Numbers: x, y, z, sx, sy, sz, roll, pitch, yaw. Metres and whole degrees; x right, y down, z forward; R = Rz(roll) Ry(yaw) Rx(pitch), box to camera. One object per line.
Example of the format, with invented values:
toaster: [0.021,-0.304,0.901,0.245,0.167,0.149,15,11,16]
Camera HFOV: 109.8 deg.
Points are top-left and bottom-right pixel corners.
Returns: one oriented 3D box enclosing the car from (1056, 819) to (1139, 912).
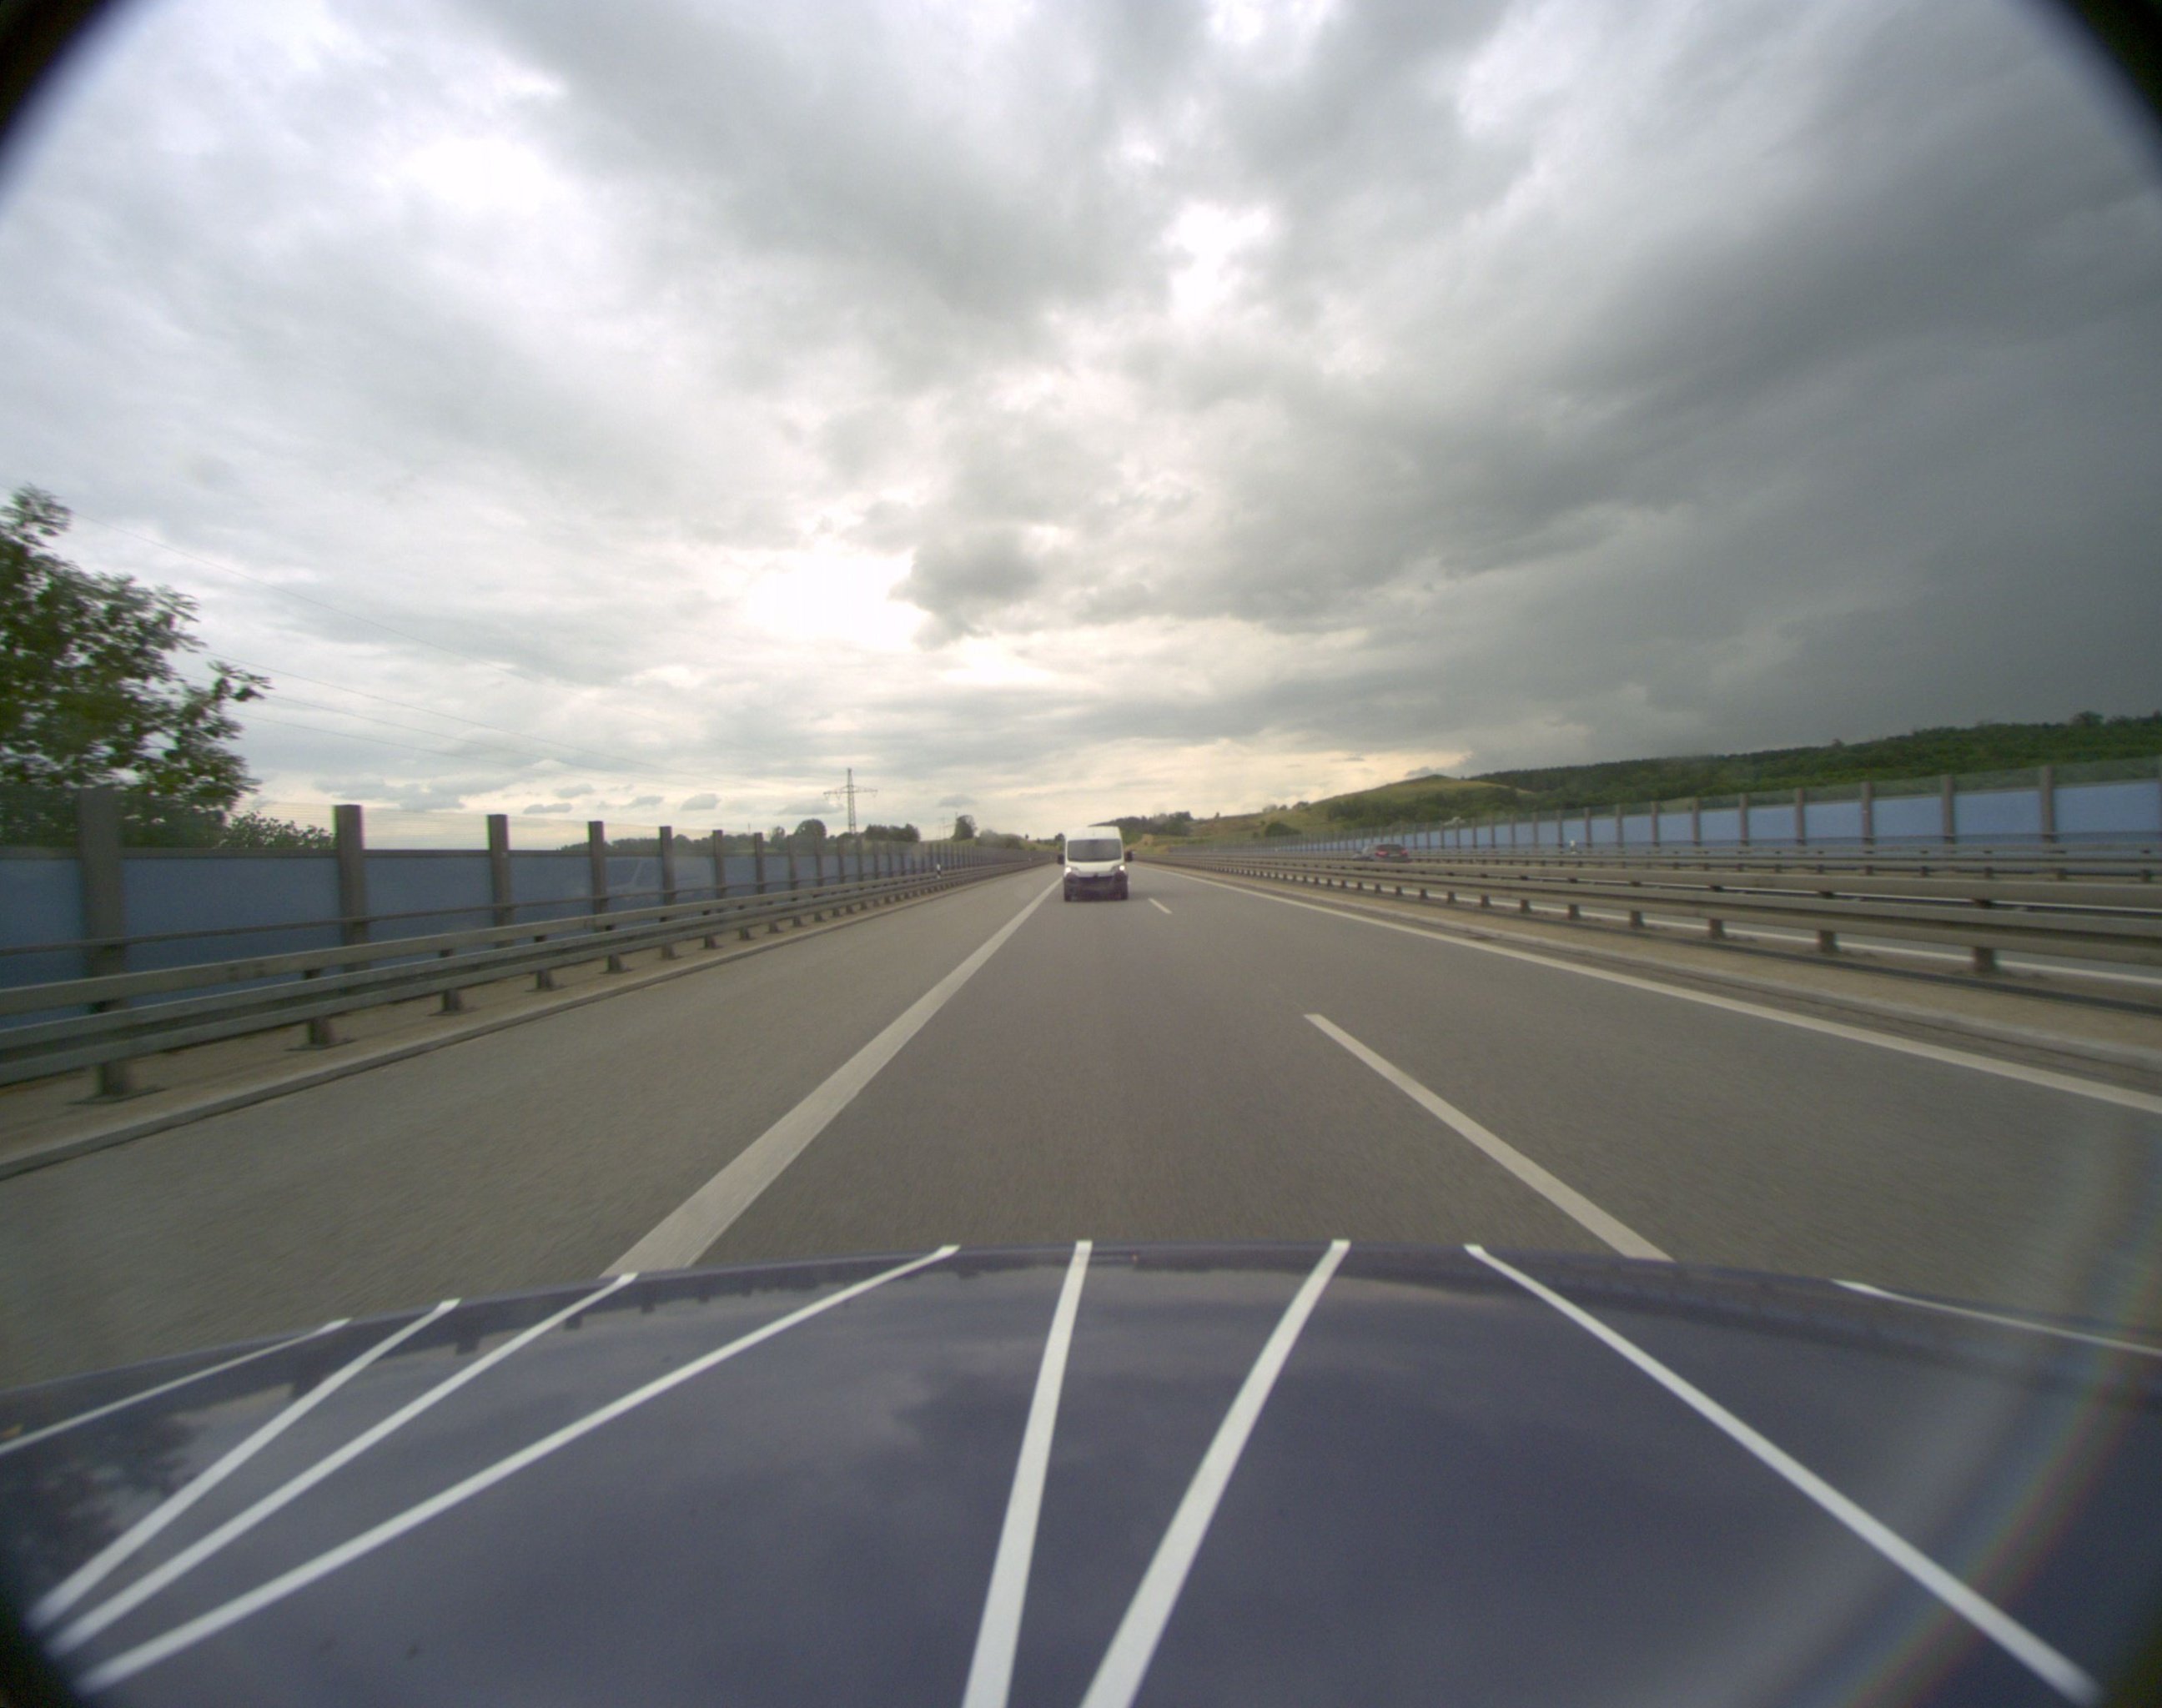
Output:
car: [0.532,0.316,23.150,2.132,2.411,6.112,-1,0,2]

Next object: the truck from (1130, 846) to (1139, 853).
truck: [17.513,-1.442,249.675,2.278,2.417,7.451,-2,0,1]

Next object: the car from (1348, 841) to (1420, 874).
car: [15.495,0.155,39.056,1.998,1.506,4.287,-2,0,1]
